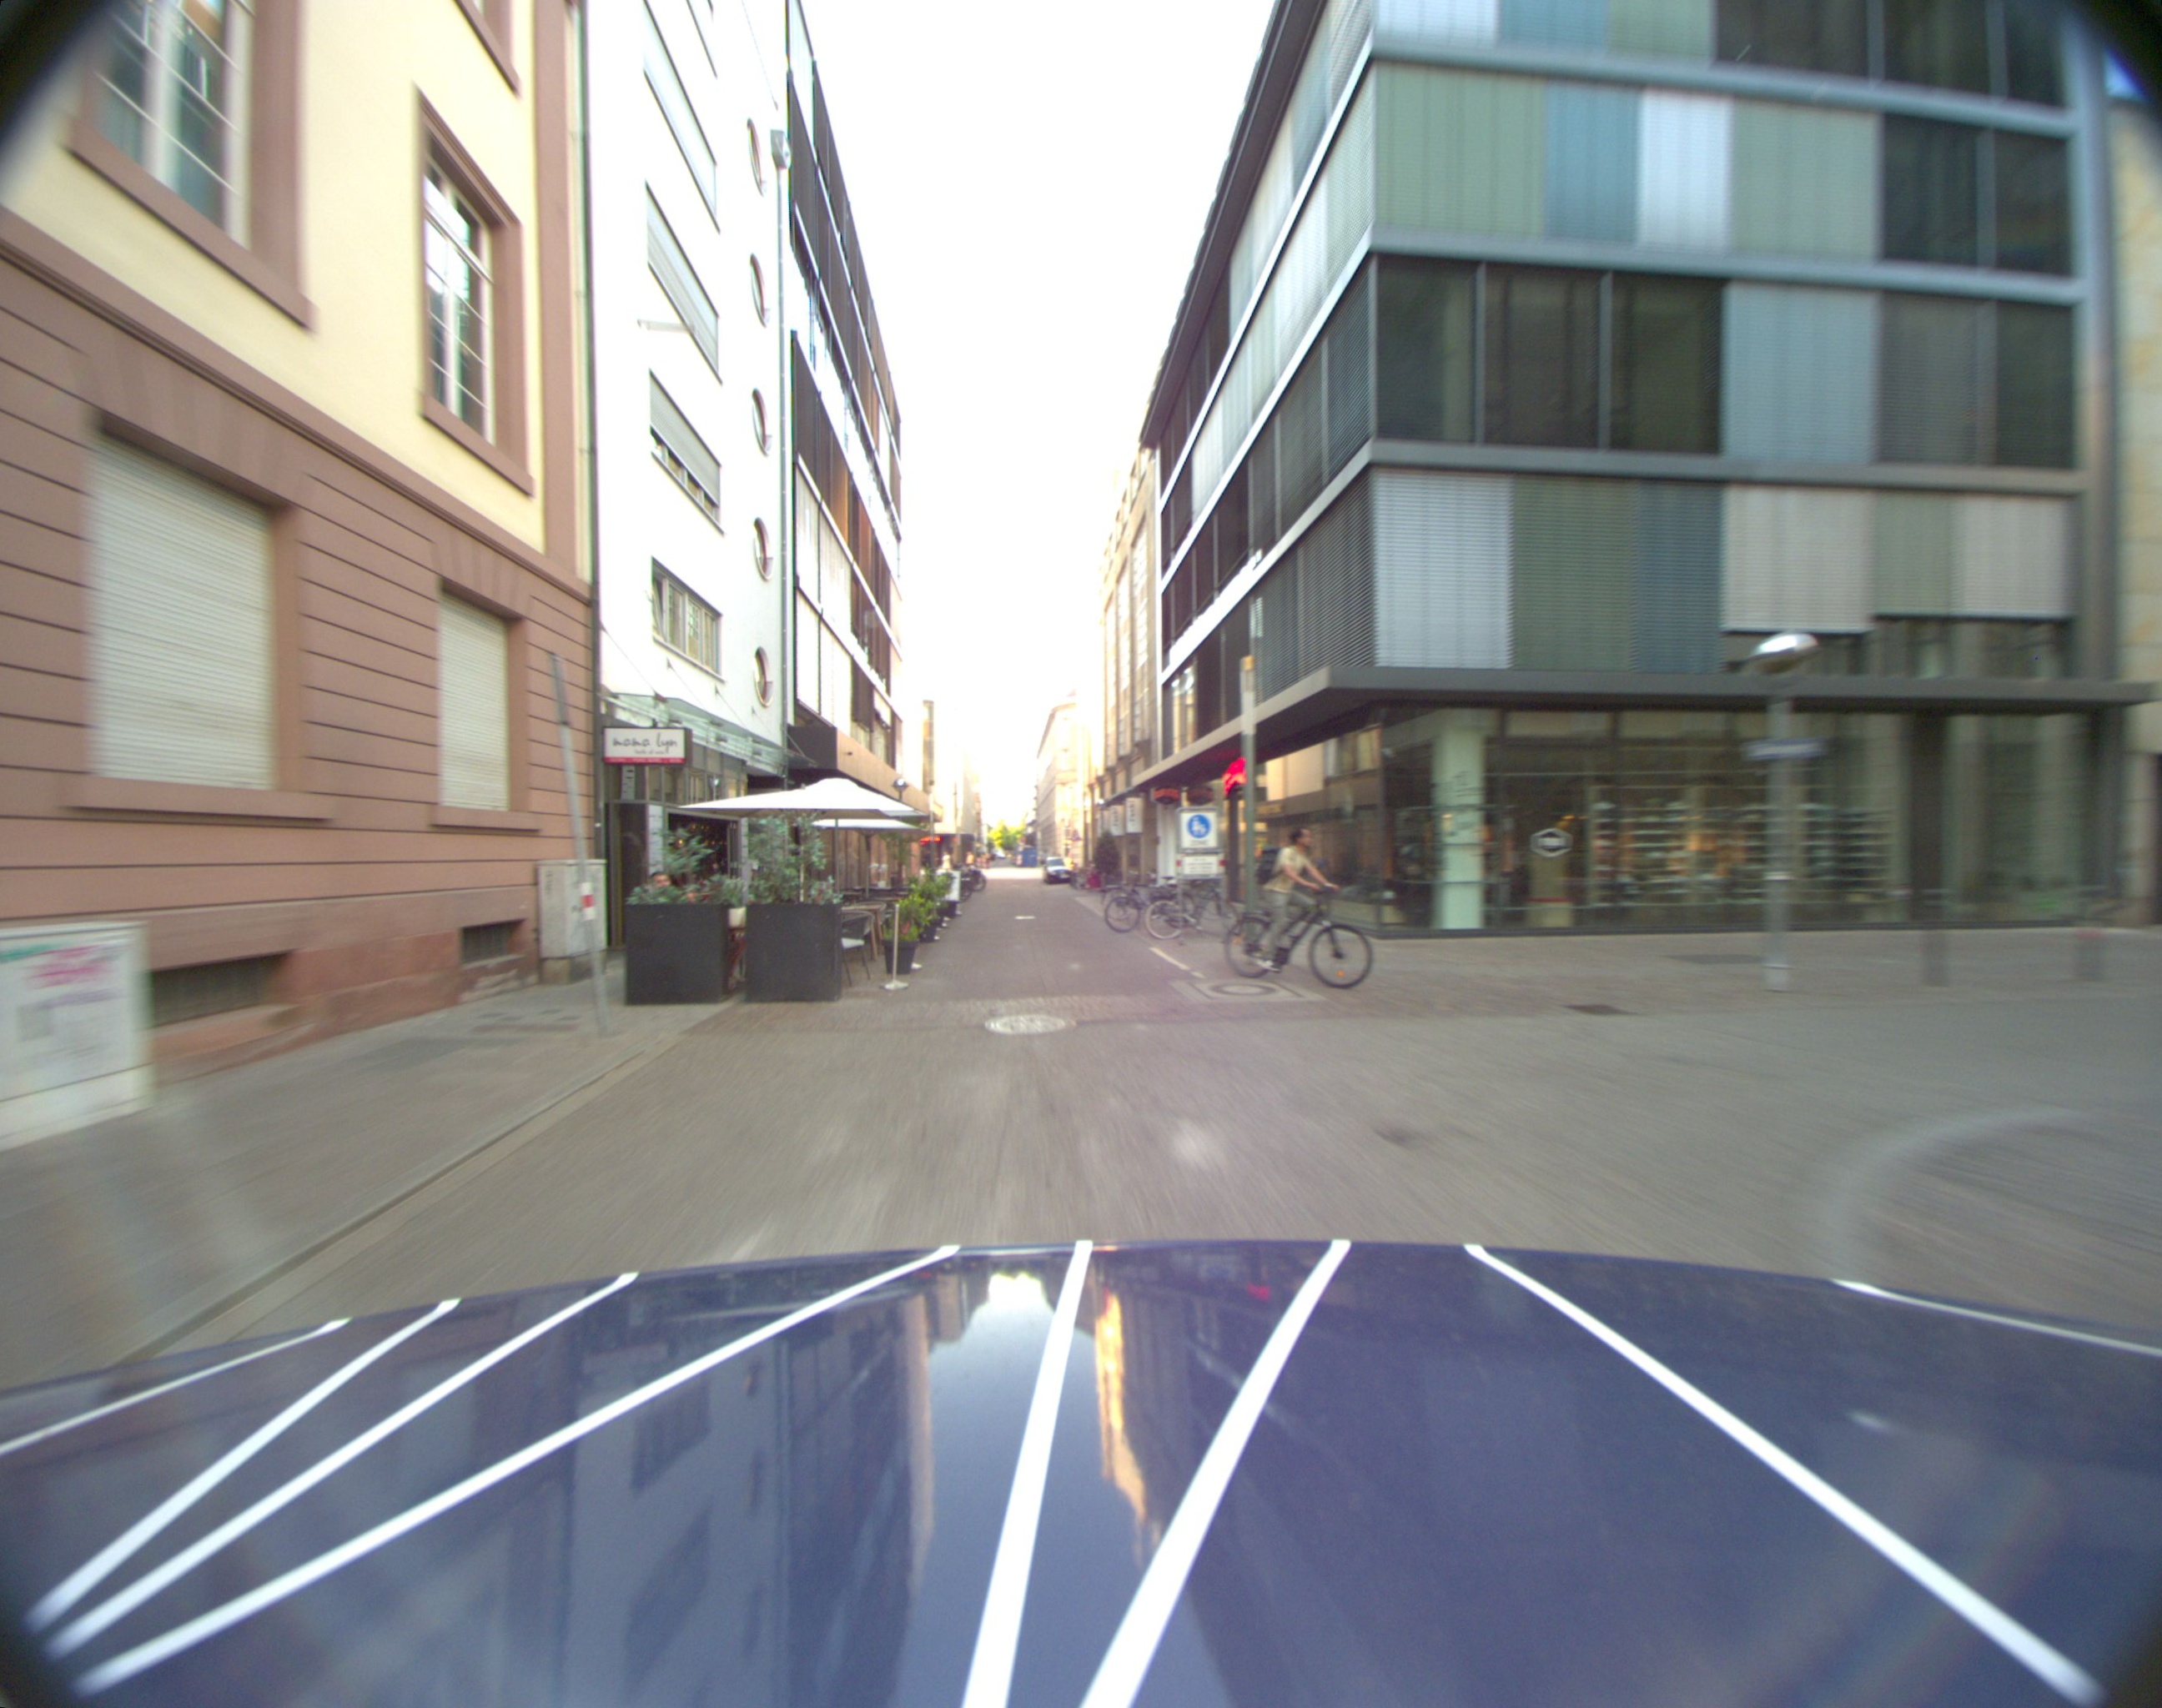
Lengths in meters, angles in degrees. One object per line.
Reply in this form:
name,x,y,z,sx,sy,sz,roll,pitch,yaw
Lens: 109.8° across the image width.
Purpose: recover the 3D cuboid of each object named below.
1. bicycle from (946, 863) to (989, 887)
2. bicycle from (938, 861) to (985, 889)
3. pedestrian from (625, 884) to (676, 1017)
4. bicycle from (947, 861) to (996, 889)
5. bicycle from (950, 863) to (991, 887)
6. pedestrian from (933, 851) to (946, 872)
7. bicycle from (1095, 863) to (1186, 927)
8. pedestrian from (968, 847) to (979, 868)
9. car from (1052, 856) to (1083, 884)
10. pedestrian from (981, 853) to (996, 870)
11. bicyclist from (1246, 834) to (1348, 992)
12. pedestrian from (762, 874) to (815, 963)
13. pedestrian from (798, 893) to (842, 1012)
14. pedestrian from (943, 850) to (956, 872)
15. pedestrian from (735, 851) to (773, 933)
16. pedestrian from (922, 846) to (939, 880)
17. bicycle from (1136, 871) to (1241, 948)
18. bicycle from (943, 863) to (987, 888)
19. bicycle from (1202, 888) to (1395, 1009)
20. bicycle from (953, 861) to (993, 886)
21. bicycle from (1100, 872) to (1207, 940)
bicycle,-5.476,1.014,36.862,2.039,1.161,0.618,0,1,-6
bicycle,-5.411,0.966,34.564,2.040,1.161,0.618,2,1,-7
pedestrian,-4.464,0.977,7.889,0.363,1.298,0.494,-1,1,-19
bicycle,-4.738,0.910,33.086,2.040,1.161,0.665,2,1,-7
bicycle,-5.545,1.060,38.249,2.039,1.161,0.618,0,1,-6
pedestrian,-10.725,0.557,57.508,0.637,1.516,0.781,-1,2,-38
bicycle,1.341,0.909,17.165,1.903,1.262,0.538,-4,1,-5
pedestrian,-8.525,0.303,60.035,0.764,1.628,0.668,0,2,2
car,-0.764,0.842,41.390,1.603,1.415,3.603,0,0,-1
pedestrian,-8.637,0.675,70.736,0.917,1.563,0.995,0,1,38
bicyclist,2.415,0.621,8.516,0.677,1.660,0.867,-1,1,-44
pedestrian,-4.865,1.050,12.681,0.576,1.412,0.868,0,1,-4
pedestrian,-2.775,1.031,8.098,0.400,1.206,0.383,-1,1,-15
pedestrian,-10.033,0.534,58.020,0.781,1.612,0.637,1,2,35
pedestrian,-7.235,0.822,16.841,0.640,1.762,0.601,-1,1,-11
pedestrian,-8.316,0.501,42.004,0.804,1.826,0.675,0,1,-4
bicycle,1.838,0.935,13.030,1.670,1.197,0.509,-2,1,-6
bicycle,-5.442,1.000,35.759,2.039,1.161,0.618,0,1,-6
bicycle,2.392,0.990,8.550,0.701,1.121,1.999,-1,1,-44
bicycle,-5.568,0.999,39.299,2.039,1.209,0.618,0,1,-6
bicycle,1.373,0.972,14.493,1.903,1.174,0.517,-3,0,-7
